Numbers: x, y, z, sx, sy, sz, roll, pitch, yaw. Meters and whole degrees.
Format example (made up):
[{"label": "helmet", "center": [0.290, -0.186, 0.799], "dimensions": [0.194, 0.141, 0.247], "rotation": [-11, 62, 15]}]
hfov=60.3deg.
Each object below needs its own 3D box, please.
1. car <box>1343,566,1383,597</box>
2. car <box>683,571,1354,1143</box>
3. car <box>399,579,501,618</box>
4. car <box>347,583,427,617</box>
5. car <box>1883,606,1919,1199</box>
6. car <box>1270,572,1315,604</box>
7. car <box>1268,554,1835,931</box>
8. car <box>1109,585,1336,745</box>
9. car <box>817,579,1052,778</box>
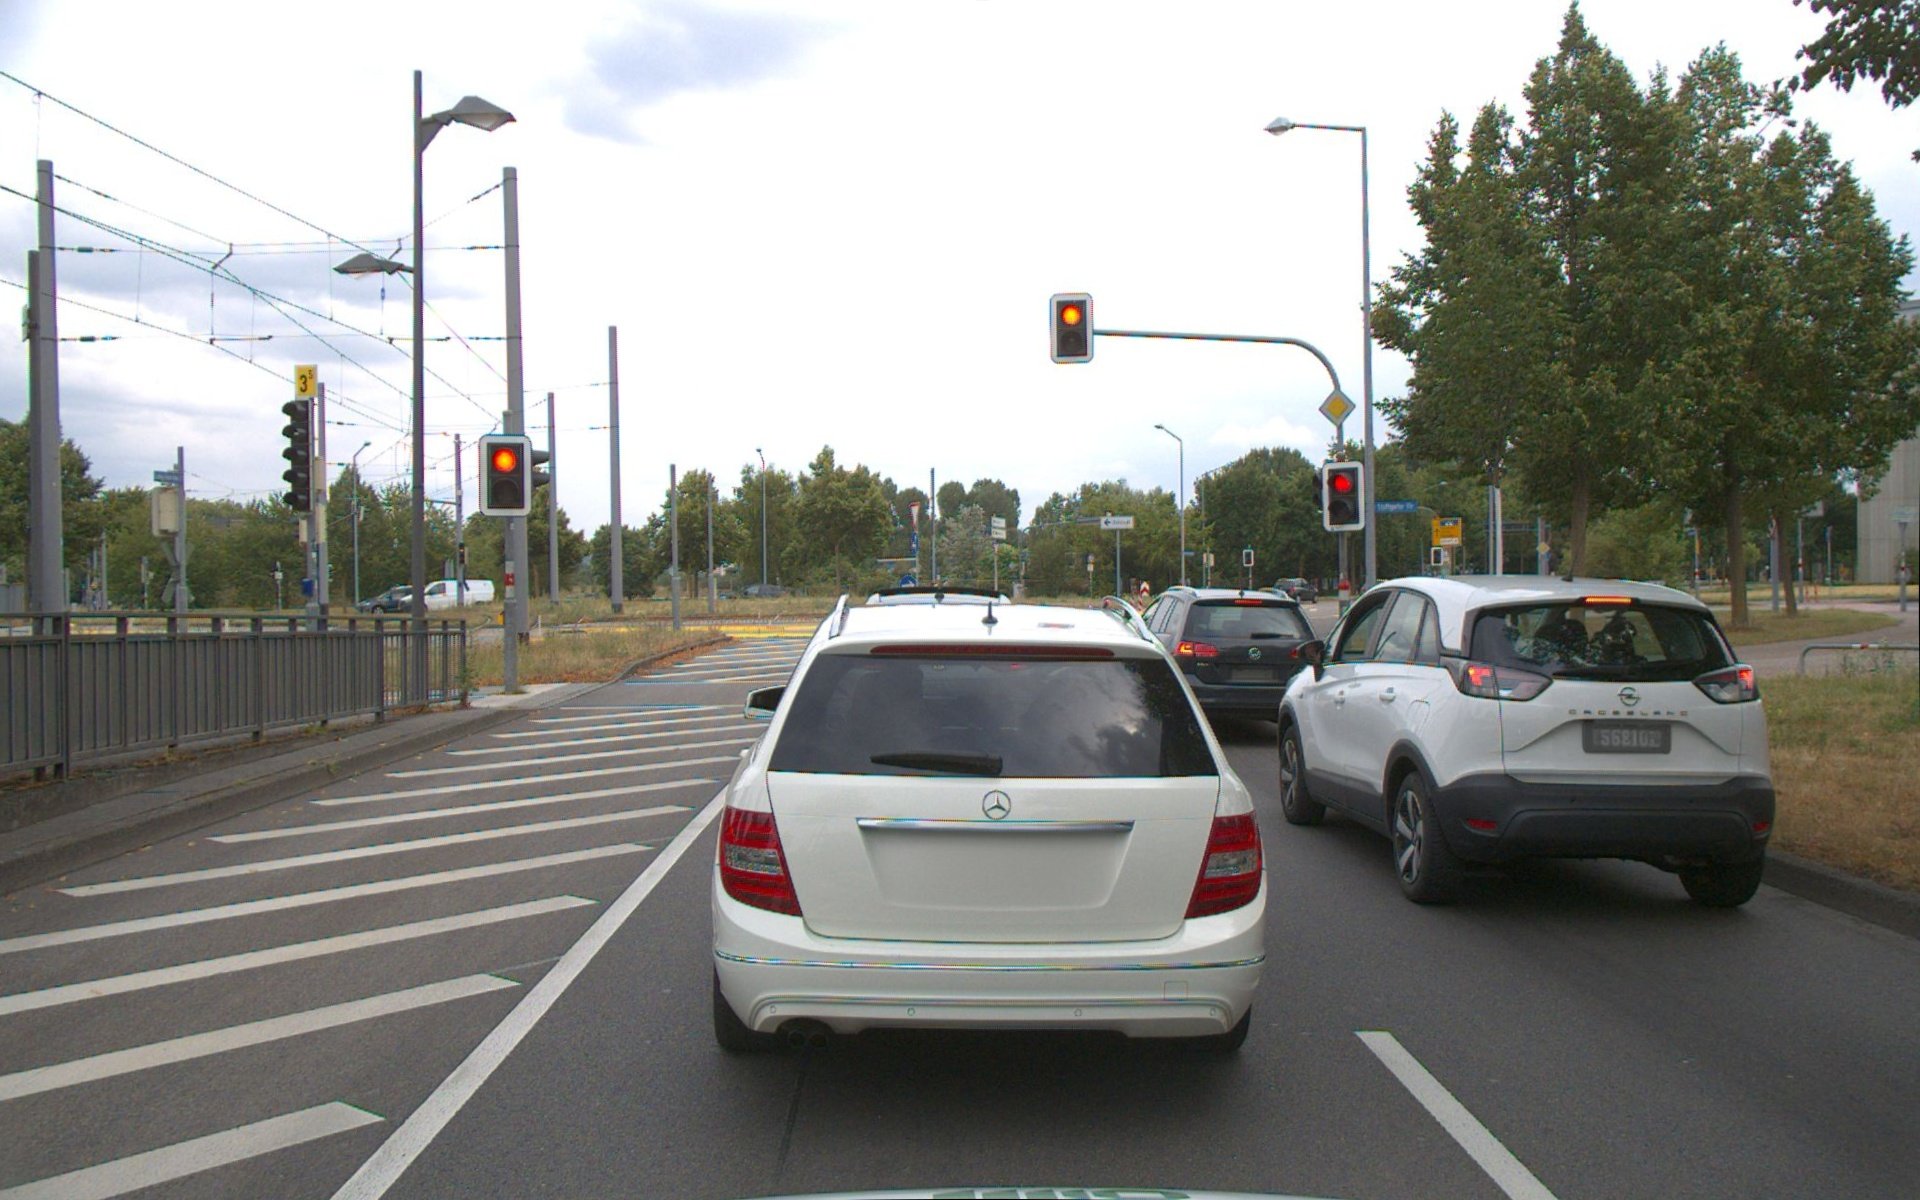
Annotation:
[{"label": "car", "center": [22.430, -1.030, 92.158], "dimensions": [1.745, 1.664, 4.406], "rotation": [-1, 1, 9]}, {"label": "car", "center": [0.073, 0.652, 6.260], "dimensions": [1.738, 1.474, 3.908], "rotation": [1, 0, -3]}, {"label": "car", "center": [-27.772, -0.113, 90.096], "dimensions": [4.938, 2.049, 1.977], "rotation": [-1, 1, -33]}, {"label": "car", "center": [-31.972, -0.006, 92.298], "dimensions": [3.939, 1.749, 1.983], "rotation": [2, 0, -27]}, {"label": "car", "center": [3.053, 0.775, 1.553], "dimensions": [1.752, 1.457, 4.307], "rotation": [0, 1, -4]}, {"label": "car", "center": [20.346, -0.711, 101.077], "dimensions": [1.953, 1.822, 3.999], "rotation": [2, 0, 23]}, {"label": "car", "center": [3.006, 0.614, 9.335], "dimensions": [1.751, 1.653, 3.910], "rotation": [-1, 1, -1]}, {"label": "car", "center": [2.624, 0.592, 17.363], "dimensions": [1.592, 1.474, 3.908], "rotation": [1, 0, -3]}, {"label": "car", "center": [-0.277, 0.572, 14.327], "dimensions": [1.738, 1.474, 3.908], "rotation": [1, 0, -3]}]
